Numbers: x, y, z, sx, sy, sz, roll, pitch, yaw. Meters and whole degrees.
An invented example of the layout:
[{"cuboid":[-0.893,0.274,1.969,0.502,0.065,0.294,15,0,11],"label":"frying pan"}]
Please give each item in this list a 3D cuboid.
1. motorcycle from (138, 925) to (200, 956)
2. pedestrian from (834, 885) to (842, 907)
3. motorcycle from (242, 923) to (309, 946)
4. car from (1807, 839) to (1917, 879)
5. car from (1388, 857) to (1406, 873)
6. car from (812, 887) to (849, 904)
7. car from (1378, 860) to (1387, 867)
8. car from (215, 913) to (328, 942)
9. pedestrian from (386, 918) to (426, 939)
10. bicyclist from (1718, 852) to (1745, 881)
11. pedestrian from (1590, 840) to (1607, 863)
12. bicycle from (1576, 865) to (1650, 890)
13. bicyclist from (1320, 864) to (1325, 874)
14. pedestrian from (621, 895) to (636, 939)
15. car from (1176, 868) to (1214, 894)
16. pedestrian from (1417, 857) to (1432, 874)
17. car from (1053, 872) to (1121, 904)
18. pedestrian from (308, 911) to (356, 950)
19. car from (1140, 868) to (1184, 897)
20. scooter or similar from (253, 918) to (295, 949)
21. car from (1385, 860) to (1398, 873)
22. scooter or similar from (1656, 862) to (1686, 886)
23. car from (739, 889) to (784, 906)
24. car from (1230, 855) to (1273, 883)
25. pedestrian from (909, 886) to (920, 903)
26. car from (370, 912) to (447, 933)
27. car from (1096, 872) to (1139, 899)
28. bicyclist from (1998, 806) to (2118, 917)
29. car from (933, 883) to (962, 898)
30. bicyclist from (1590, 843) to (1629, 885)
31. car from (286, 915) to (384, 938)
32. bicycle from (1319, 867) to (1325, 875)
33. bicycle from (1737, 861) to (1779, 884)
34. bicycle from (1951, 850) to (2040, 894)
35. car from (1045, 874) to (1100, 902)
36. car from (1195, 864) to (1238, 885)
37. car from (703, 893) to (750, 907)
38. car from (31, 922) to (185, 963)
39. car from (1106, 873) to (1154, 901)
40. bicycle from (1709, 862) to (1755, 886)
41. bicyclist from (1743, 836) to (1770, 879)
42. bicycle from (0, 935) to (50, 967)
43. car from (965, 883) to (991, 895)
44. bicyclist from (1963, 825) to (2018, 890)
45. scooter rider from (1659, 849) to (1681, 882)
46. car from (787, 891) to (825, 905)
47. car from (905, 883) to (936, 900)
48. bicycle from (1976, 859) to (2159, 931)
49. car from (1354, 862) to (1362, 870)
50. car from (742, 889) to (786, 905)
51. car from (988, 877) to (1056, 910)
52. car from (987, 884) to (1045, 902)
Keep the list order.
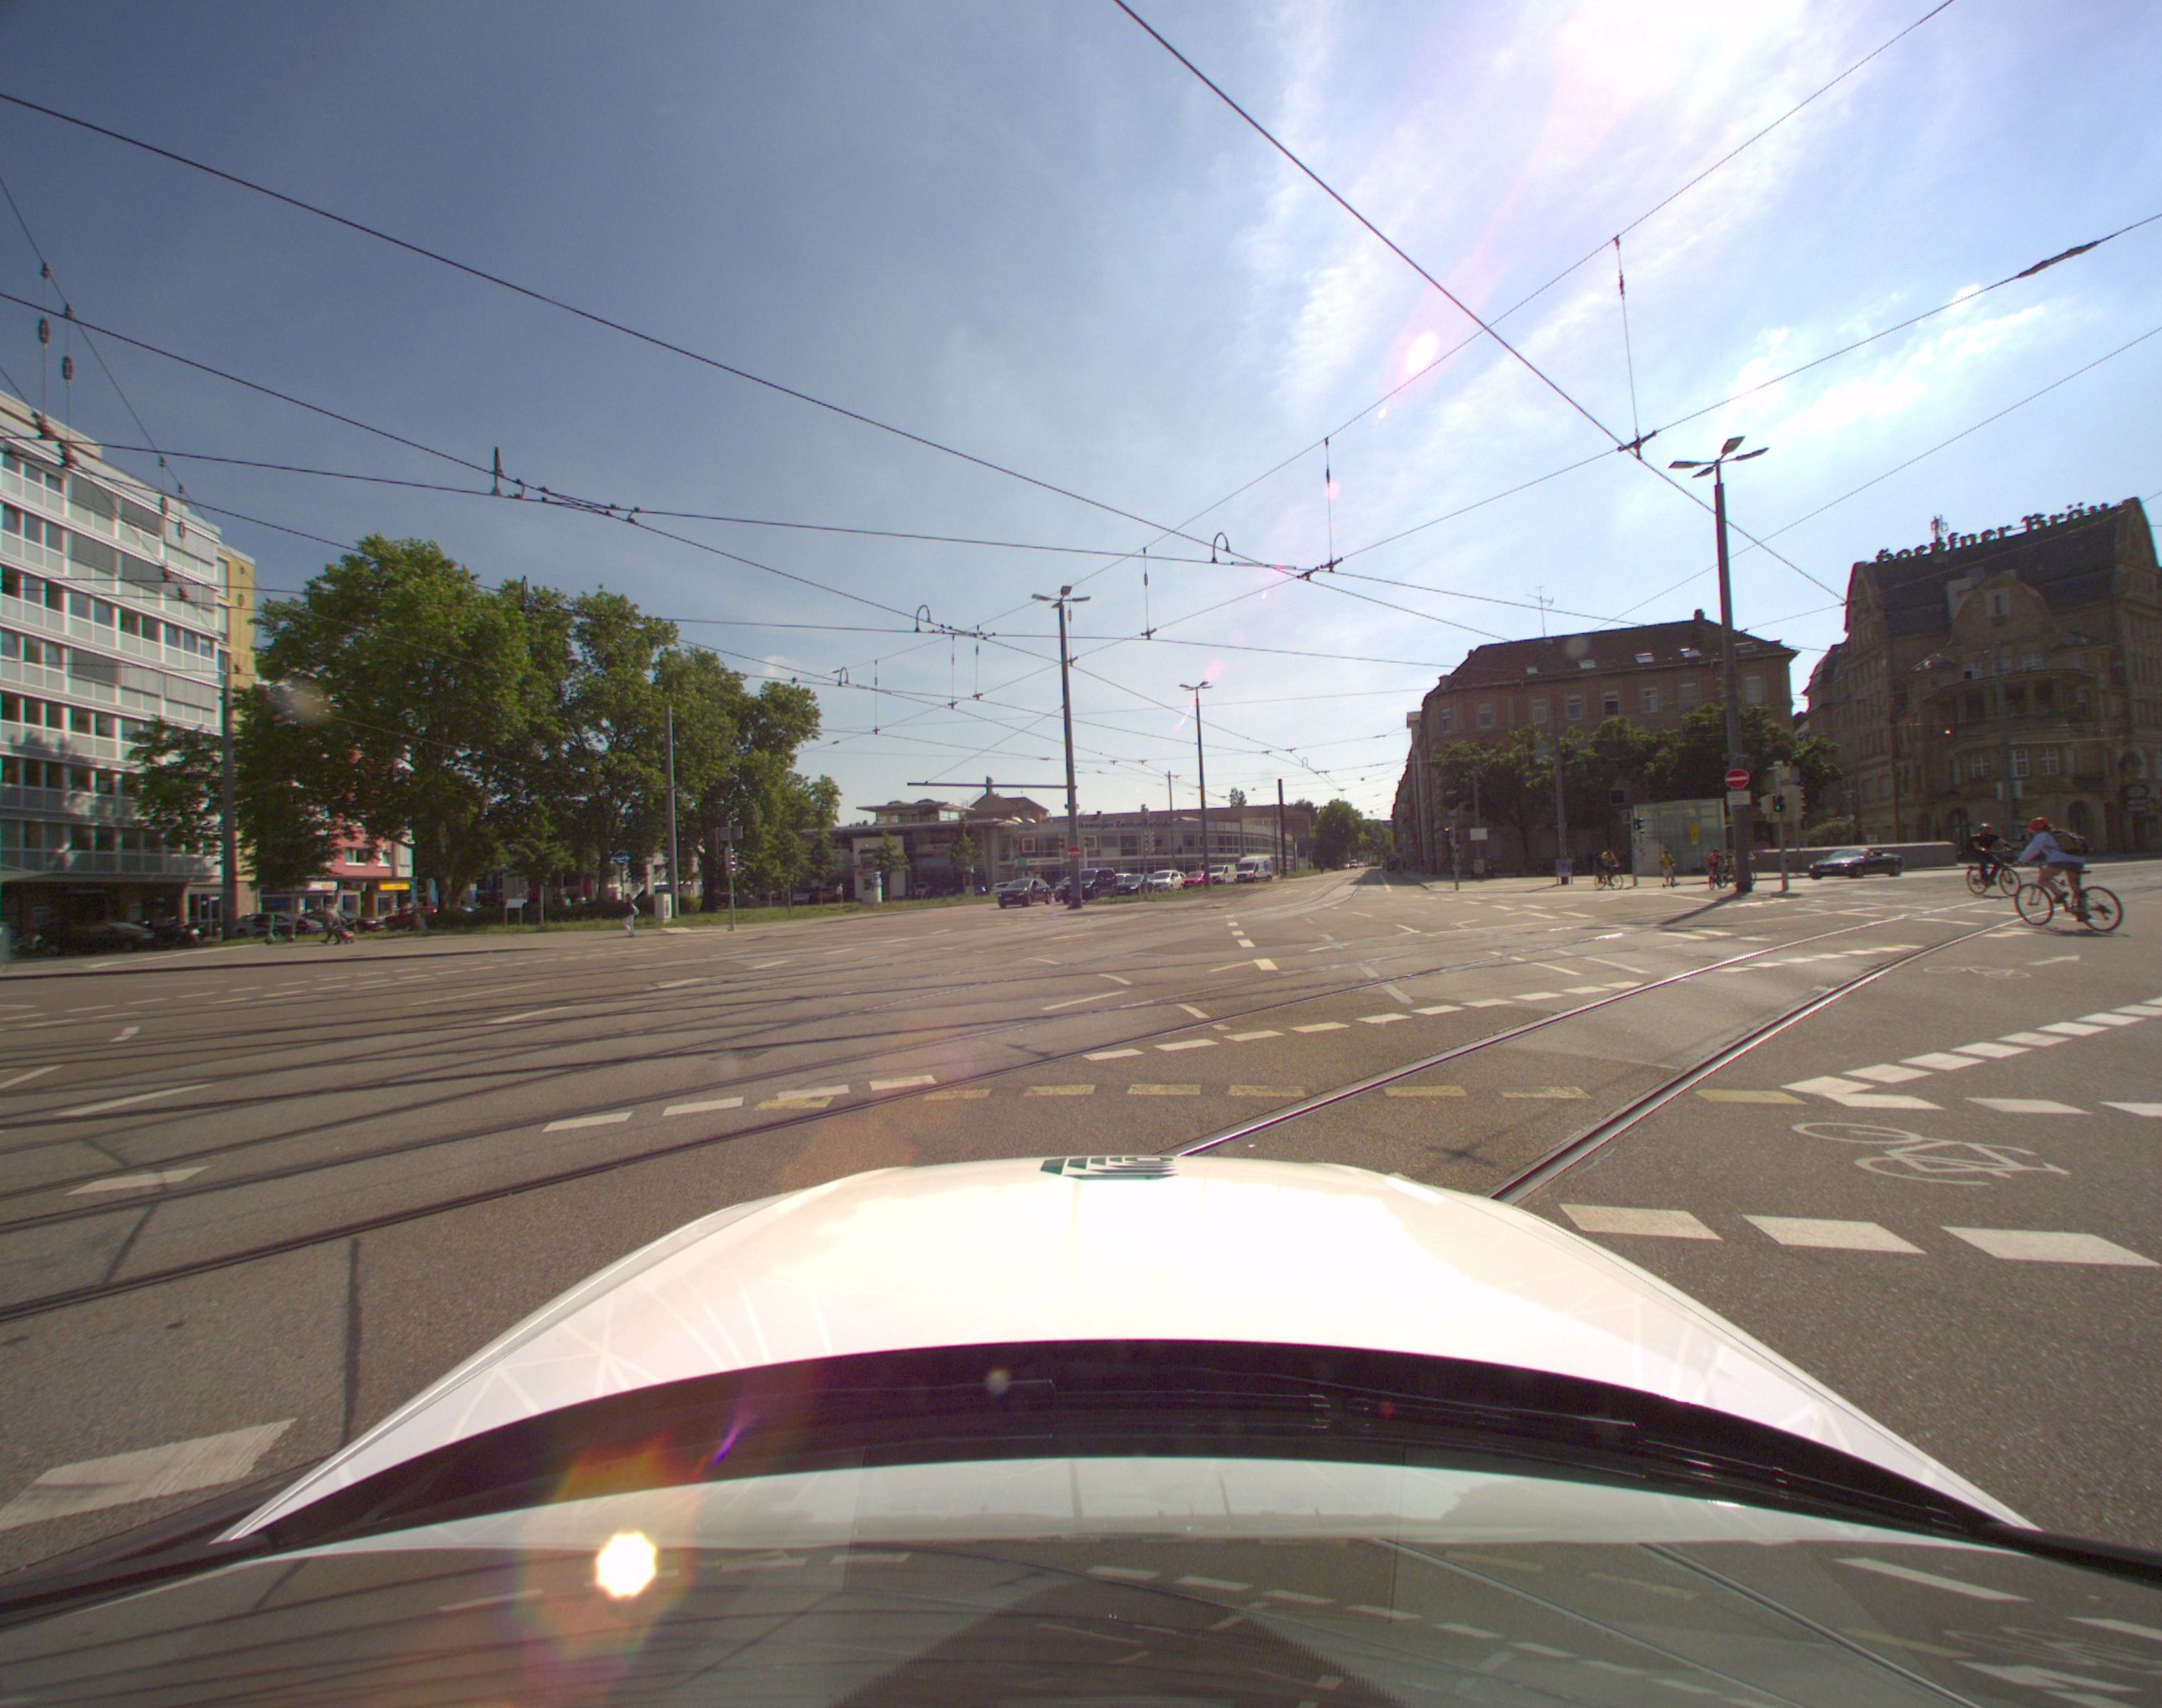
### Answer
[{"cuboid":[-34.854,3.300,31.123,2.017,1.062,0.643,-3,-2,12],"label":"motorcycle"},{"cuboid":[-18.151,3.151,60.817,0.388,1.596,0.467,-2,-3,29],"label":"pedestrian"},{"cuboid":[-35.669,3.545,36.094,0.632,0.842,2.051,-4,-2,39],"label":"motorcycle"},{"cuboid":[34.855,0.228,36.365,3.994,1.584,1.630,-2,-2,-15],"label":"car"},{"cuboid":[43.514,1.529,112.154,1.978,2.014,4.017,-1,-2,17],"label":"car"},{"cuboid":[-25.575,4.235,83.167,1.981,1.684,4.011,-1,-2,10],"label":"car"},{"cuboid":[89.482,2.898,241.881,1.975,2.014,4.023,-3,-2,25],"label":"car"},{"cuboid":[-44.703,4.047,45.058,3.989,1.440,1.883,0,-2,-12],"label":"car"},{"cuboid":[-31.828,3.493,38.403,1.174,0.892,0.818,-2,-2,-14],"label":"pedestrian"},{"cuboid":[24.028,0.466,30.077,0.498,1.029,0.606,-1,-1,3],"label":"bicyclist"},{"cuboid":[33.222,-0.167,52.308,0.616,1.433,0.705,1,-3,-32],"label":"pedestrian"},{"cuboid":[23.322,1.035,35.796,0.929,1.069,2.730,0,-2,-17],"label":"bicycle"},{"cuboid":[39.542,2.424,133.507,0.745,1.568,1.092,-1,-2,19],"label":"bicyclist"},{"cuboid":[-17.025,2.369,30.618,0.456,1.605,0.396,1,-3,-31],"label":"pedestrian"},{"cuboid":[9.066,2.146,64.283,1.878,1.917,4.222,-4,-3,22],"label":"car"},{"cuboid":[29.487,0.992,69.945,0.715,1.433,0.877,-2,-2,-32],"label":"pedestrian"},{"cuboid":[0.405,1.817,44.183,1.944,1.588,4.741,-4,-3,22],"label":"car"},{"cuboid":[-28.191,2.859,30.653,1.116,1.404,0.653,0,-2,-17],"label":"pedestrian"},{"cuboid":[5.798,2.030,57.631,1.878,1.917,4.222,-4,-3,22],"label":"car"},{"cuboid":[-31.182,3.077,31.464,1.349,1.119,0.519,-3,-2,15],"label":"scooter or similar"},{"cuboid":[53.698,2.172,140.952,2.091,2.014,4.019,-1,-2,20],"label":"car"},{"cuboid":[24.605,0.832,33.967,0.584,0.976,0.993,-1,-2,5],"label":"scooter or similar"},{"cuboid":[-34.266,4.638,87.516,3.970,1.552,2.002,-3,-2,3],"label":"car"},{"cuboid":[16.424,1.473,78.128,2.187,2.576,5.911,-2,-3,31],"label":"car"},{"cuboid":[-15.919,3.884,77.727,0.950,1.580,0.534,-1,-2,2],"label":"pedestrian"},{"cuboid":[-47.231,4.791,57.254,3.725,1.340,1.736,0,-2,-12],"label":"car"},{"cuboid":[2.597,2.209,57.577,1.637,1.739,4.222,-4,-3,22],"label":"car"},{"cuboid":[15.621,0.124,13.051,0.709,1.669,0.878,-5,-2,13],"label":"bicyclist"},{"cuboid":[-13.314,3.622,81.265,1.985,1.486,4.004,-1,-2,4],"label":"car"},{"cuboid":[23.321,0.456,35.957,0.929,1.820,1.045,0,-3,-19],"label":"bicyclist"},{"cuboid":[-45.302,4.390,49.525,3.989,1.270,1.736,0,-2,-12],"label":"car"},{"cuboid":[39.554,2.827,133.505,0.745,1.195,2.852,-1,-2,19],"label":"bicycle"},{"cuboid":[25.779,0.711,31.027,0.497,0.866,1.592,-1,-1,11],"label":"bicycle"},{"cuboid":[23.233,0.446,20.760,0.660,1.069,2.478,-2,-1,28],"label":"bicycle"},{"cuboid":[-0.491,2.096,50.483,1.877,1.588,4.021,-4,-3,22],"label":"car"},{"cuboid":[11.911,1.783,71.143,2.164,1.681,5.059,-4,-2,28],"label":"car"},{"cuboid":[-36.835,4.729,84.672,3.968,1.371,2.002,-1,-2,4],"label":"car"},{"cuboid":[-42.185,3.830,35.414,4.082,1.471,1.652,-2,-5,-12],"label":"car"},{"cuboid":[3.083,2.018,50.531,1.878,1.588,4.019,-3,-3,20],"label":"car"},{"cuboid":[24.036,0.748,30.108,0.498,0.866,1.588,-1,-1,4],"label":"bicycle"},{"cuboid":[25.784,0.127,31.089,0.497,1.621,0.651,-1,-1,10],"label":"bicyclist"},{"cuboid":[-42.289,3.857,32.275,0.580,1.086,1.756,-3,-1,-1],"label":"bicycle"},{"cuboid":[-10.191,3.431,80.613,1.822,1.195,4.004,-1,-2,4],"label":"car"},{"cuboid":[23.315,0.098,20.898,0.660,1.624,0.787,-2,-1,28],"label":"bicyclist"},{"cuboid":[24.603,0.487,34.008,0.584,1.397,0.407,-1,-2,5],"label":"scooter rider"},{"cuboid":[-27.949,4.474,82.965,1.981,1.244,4.011,-1,-2,10],"label":"car"},{"cuboid":[-16.071,3.719,81.527,1.985,1.486,4.004,-3,-2,4],"label":"car"},{"cuboid":[15.671,0.629,13.037,0.709,1.015,2.028,-5,-2,13],"label":"bicycle"},{"cuboid":[77.584,3.258,228.192,1.815,2.213,4.021,-3,-2,22],"label":"car"},{"cuboid":[-35.093,4.755,90.270,3.970,1.508,2.002,-3,-2,3],"label":"car"},{"cuboid":[-3.121,2.092,43.750,1.875,1.588,4.232,-4,-3,22],"label":"car"},{"cuboid":[-5.418,3.204,67.668,4.547,1.436,1.451,-1,-2,19],"label":"car"}]
